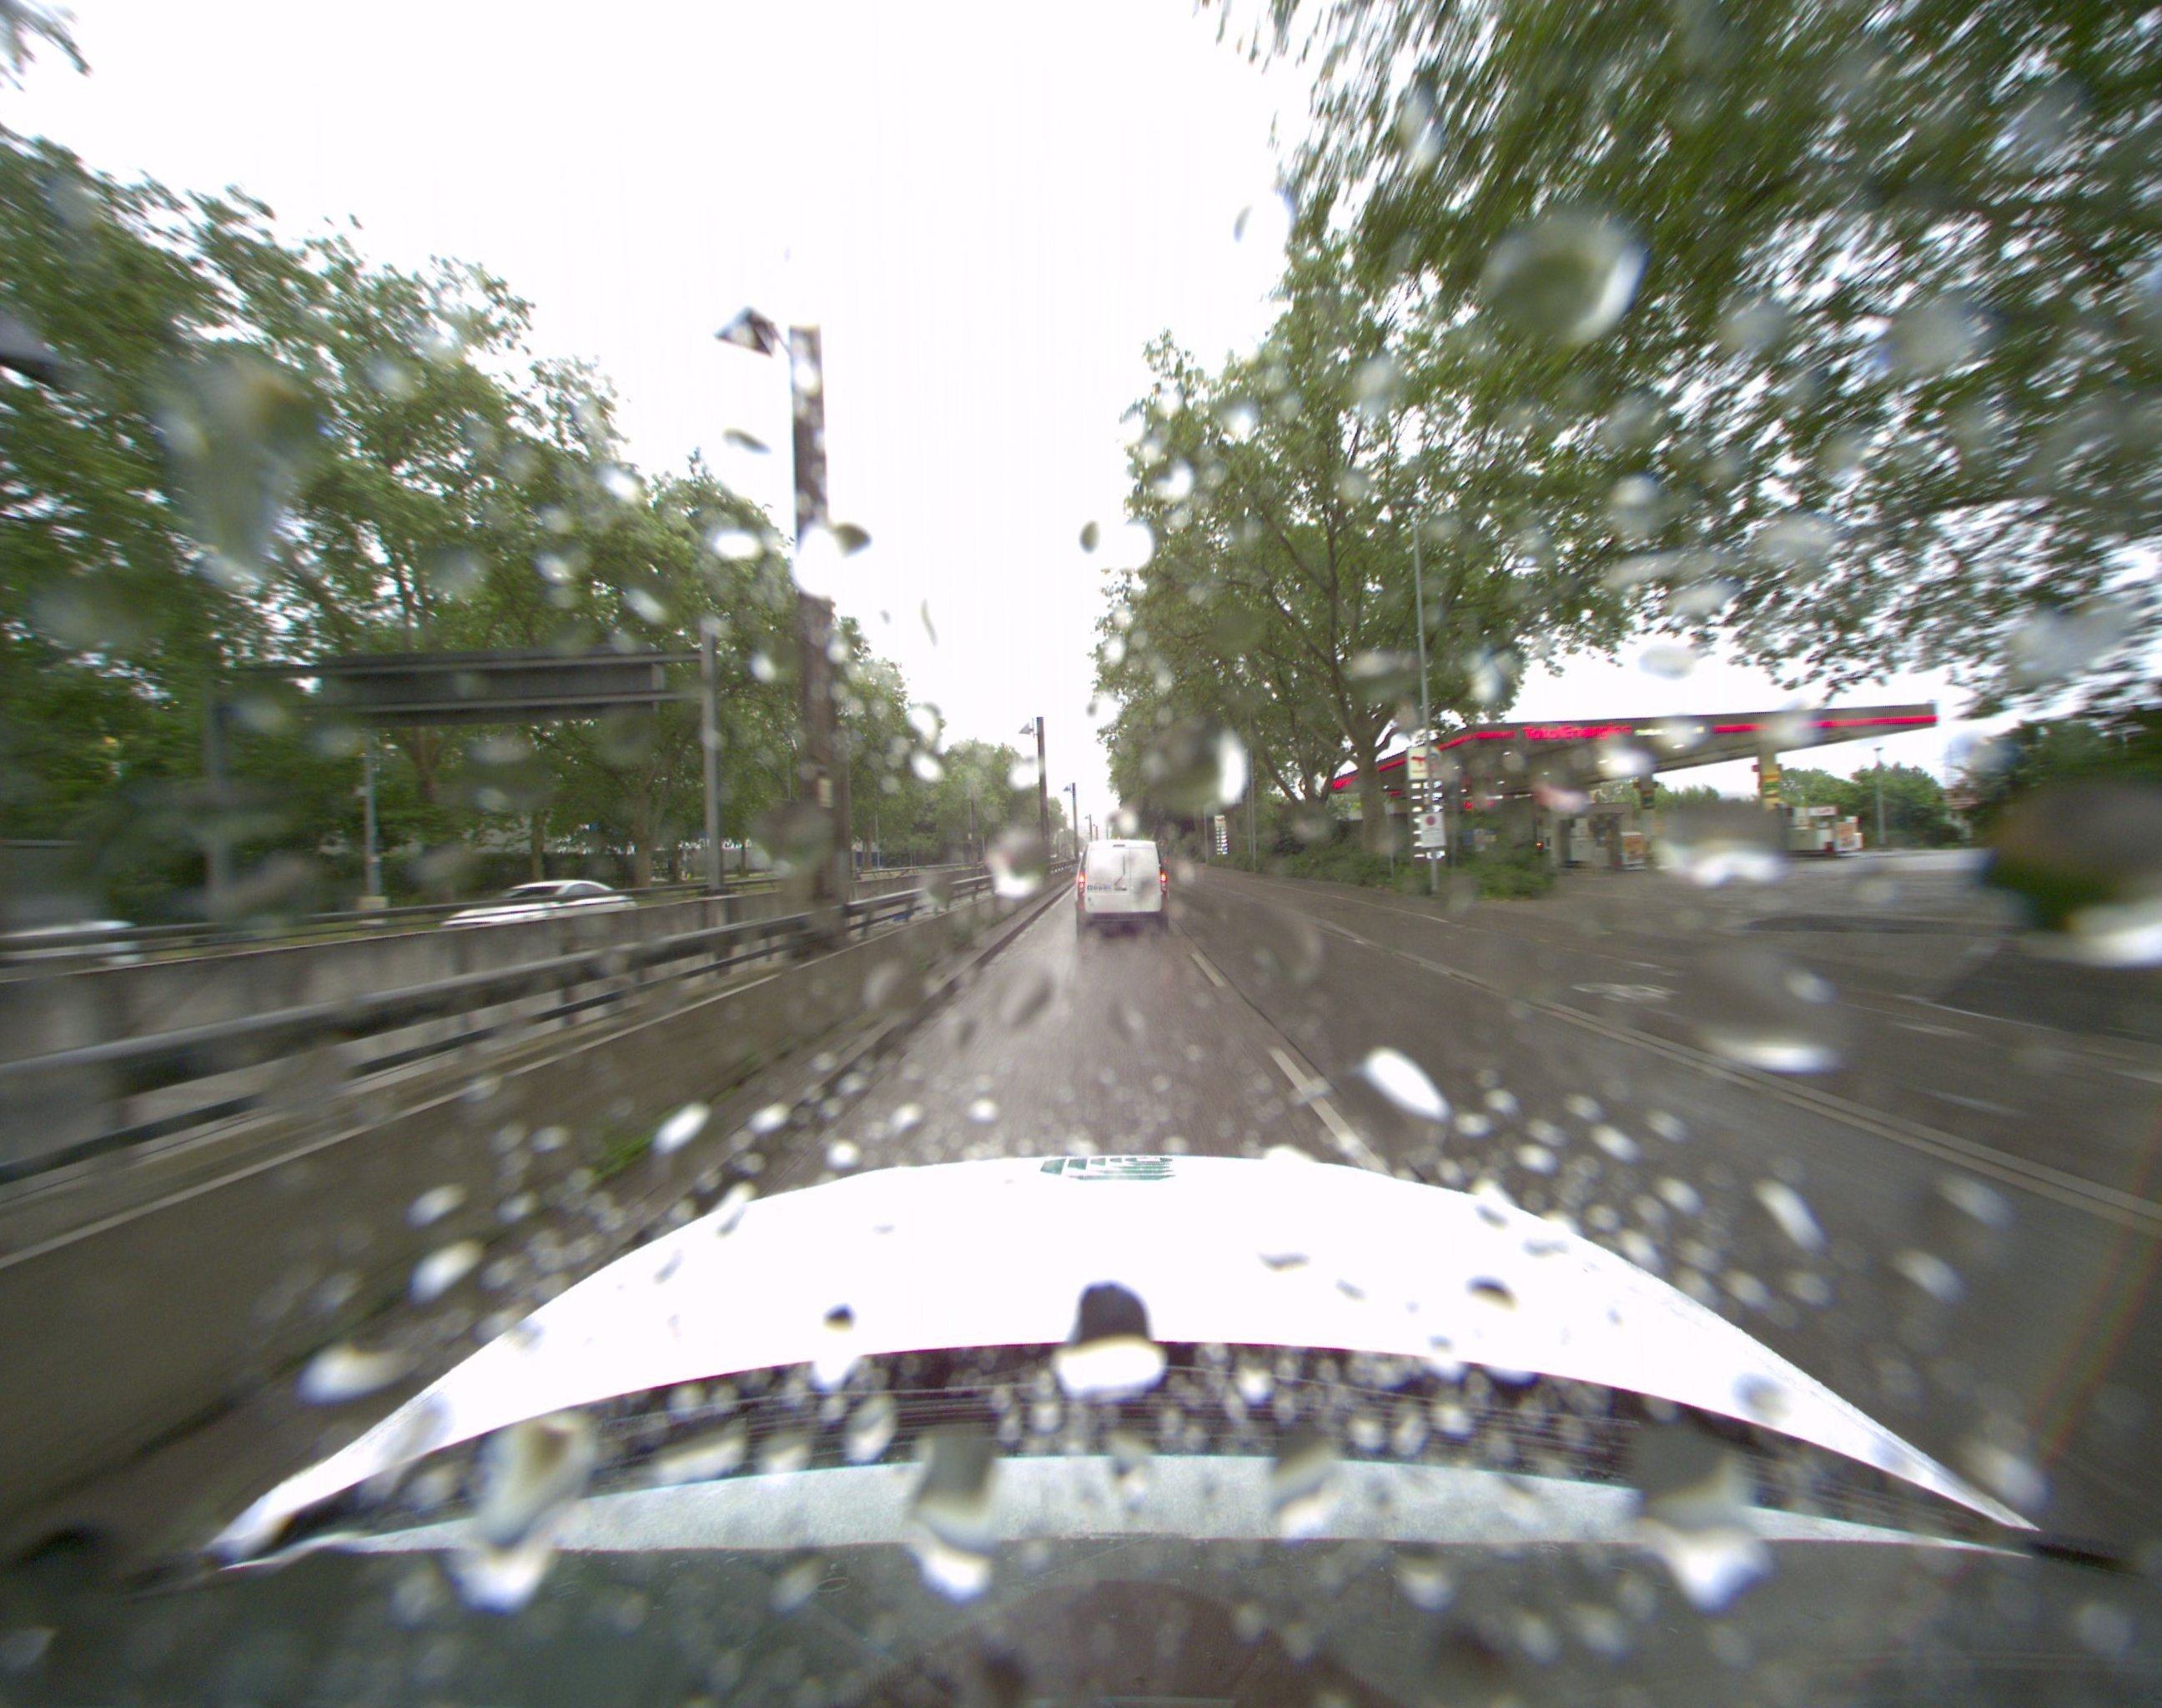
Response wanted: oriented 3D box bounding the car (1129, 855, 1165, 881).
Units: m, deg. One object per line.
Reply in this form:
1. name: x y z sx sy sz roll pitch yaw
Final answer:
1. car: 4.412 0.926 54.812 1.987 1.585 3.998 -3 -1 -1

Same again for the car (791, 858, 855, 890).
1. car: -13.899 1.047 44.045 1.899 1.571 4.004 -3 0 4

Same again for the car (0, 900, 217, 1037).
1. car: -14.803 1.571 10.946 1.839 1.632 4.092 -2 -1 3

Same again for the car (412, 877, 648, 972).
1. car: -11.791 1.415 17.921 1.987 1.632 4.580 -2 -1 1

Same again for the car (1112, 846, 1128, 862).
1. car: 5.525 -0.031 114.562 2.040 2.140 4.003 -2 -1 3

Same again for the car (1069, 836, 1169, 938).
1. car: 0.733 0.602 16.576 1.749 1.777 4.001 -1 0 1

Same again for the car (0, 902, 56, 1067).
1. car: -11.913 1.347 6.565 1.985 1.632 4.092 -2 -1 3

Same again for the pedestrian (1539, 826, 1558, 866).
1. pedestrian: 20.427 -0.342 35.608 0.549 1.725 0.729 -3 -1 21
